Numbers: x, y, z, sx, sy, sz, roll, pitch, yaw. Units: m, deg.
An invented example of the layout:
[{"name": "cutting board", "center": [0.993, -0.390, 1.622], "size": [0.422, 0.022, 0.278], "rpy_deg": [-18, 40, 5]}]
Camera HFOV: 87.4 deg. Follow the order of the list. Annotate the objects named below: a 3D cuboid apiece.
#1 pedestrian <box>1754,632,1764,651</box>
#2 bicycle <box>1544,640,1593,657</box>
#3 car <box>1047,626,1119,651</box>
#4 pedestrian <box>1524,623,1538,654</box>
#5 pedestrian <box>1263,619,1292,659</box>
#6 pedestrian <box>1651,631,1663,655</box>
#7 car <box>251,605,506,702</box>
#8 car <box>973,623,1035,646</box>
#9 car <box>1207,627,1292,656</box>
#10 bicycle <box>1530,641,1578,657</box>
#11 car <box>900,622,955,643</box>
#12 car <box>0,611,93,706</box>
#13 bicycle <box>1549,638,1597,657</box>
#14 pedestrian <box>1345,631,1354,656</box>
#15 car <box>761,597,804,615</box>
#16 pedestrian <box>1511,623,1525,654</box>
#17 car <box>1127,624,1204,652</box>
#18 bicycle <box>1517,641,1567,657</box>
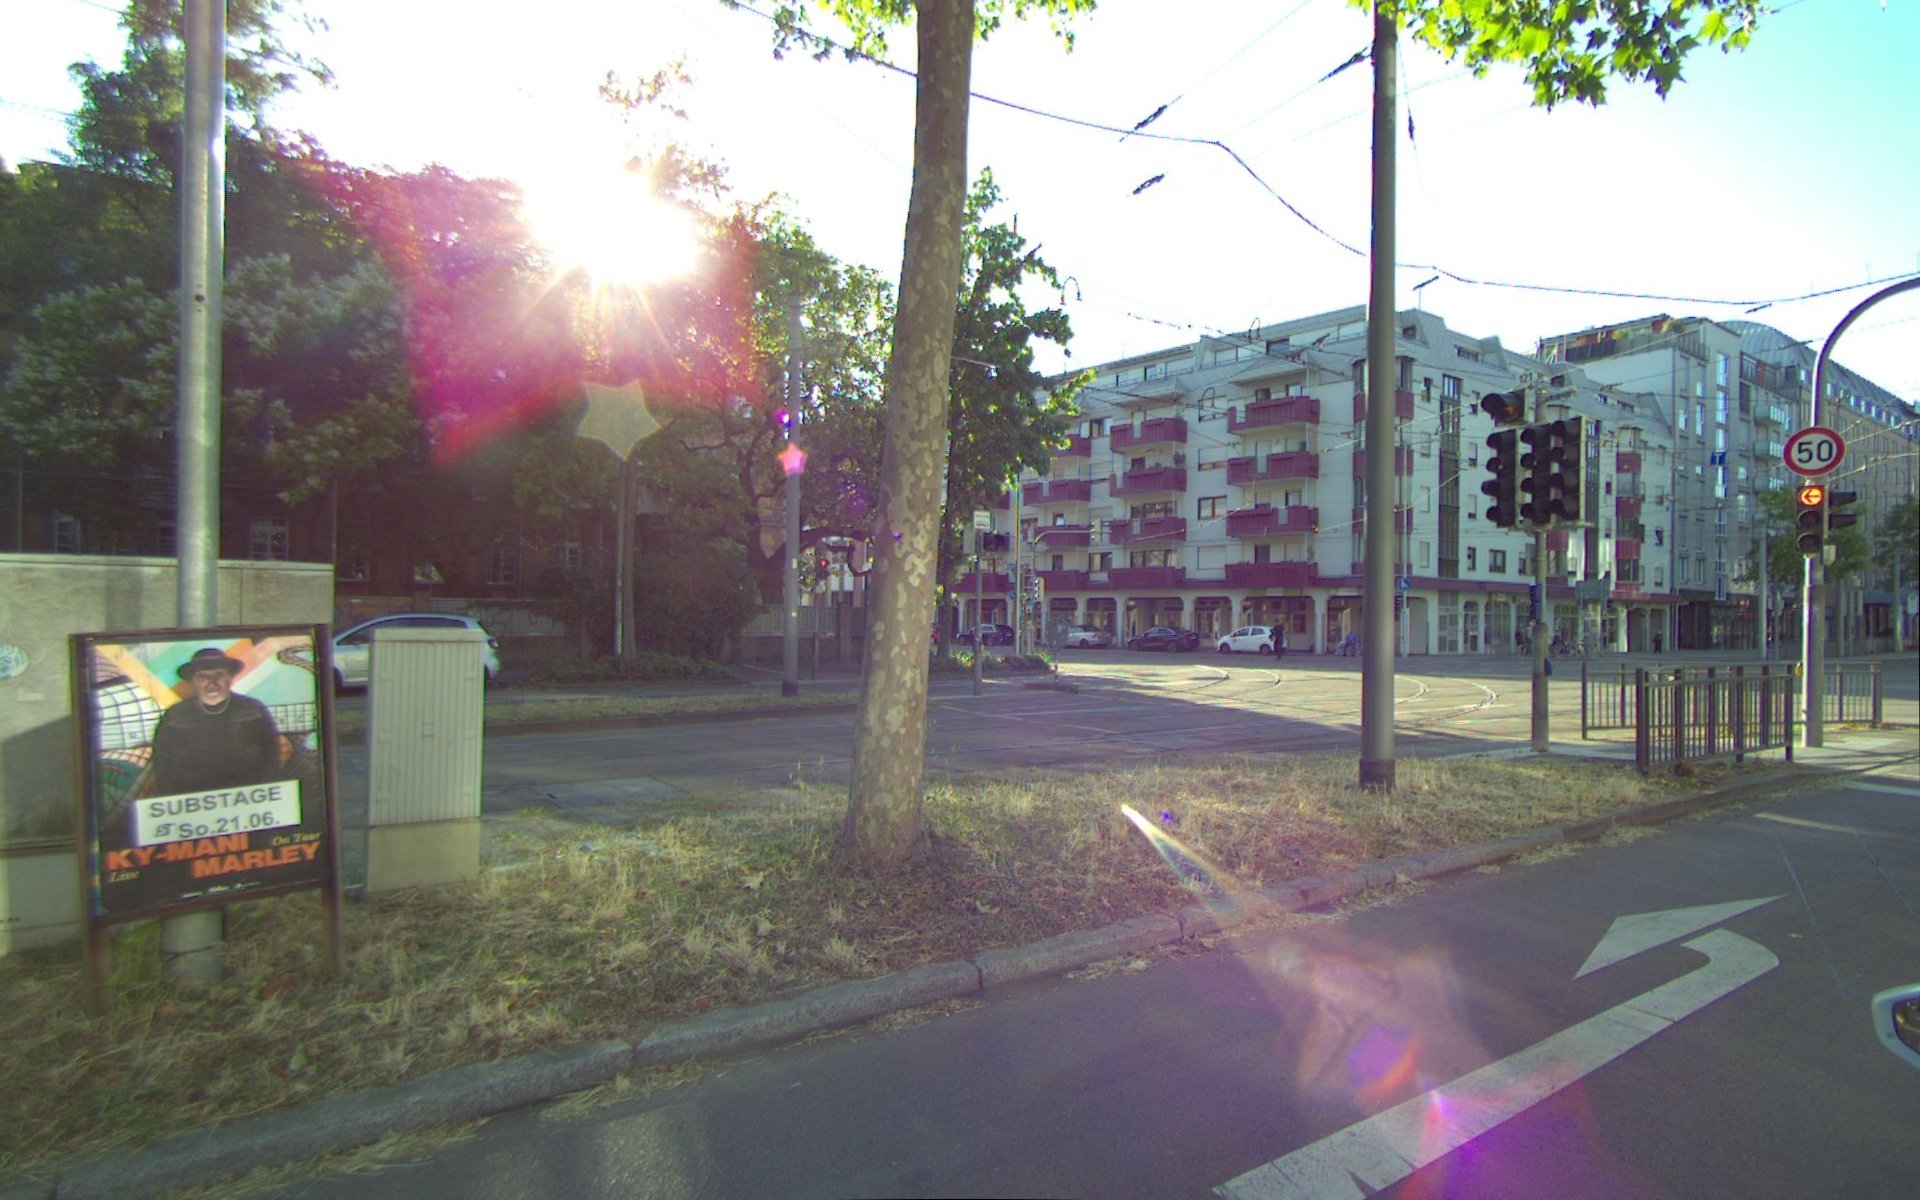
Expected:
[{"name": "pedestrian", "center": [60.239, 3.130, 75.731], "size": [0.523, 1.478, 0.507], "rpy_deg": [1, -1, -37]}, {"name": "bicycle", "center": [31.901, 2.551, 52.672], "size": [0.523, 0.835, 2.153], "rpy_deg": [1, -2, -37]}, {"name": "car", "center": [7.482, 2.312, 61.312], "size": [1.790, 1.483, 4.215], "rpy_deg": [2, -2, -44]}, {"name": "pedestrian", "center": [31.568, 2.123, 55.560], "size": [0.523, 1.721, 0.507], "rpy_deg": [1, -1, -37]}, {"name": "pedestrian", "center": [13.576, 1.680, 42.944], "size": [1.025, 1.684, 0.703], "rpy_deg": [1, -2, -40]}, {"name": "pedestrian", "center": [44.189, 2.723, 63.669], "size": [0.524, 1.478, 0.505], "rpy_deg": [1, -1, -44]}, {"name": "car", "center": [-11.432, 1.003, 19.850], "size": [4.140, 1.711, 1.979], "rpy_deg": [1, -1, -38]}, {"name": "car", "center": [2.898, 2.252, 66.603], "size": [1.790, 1.483, 3.947], "rpy_deg": [2, -2, -44]}, {"name": "car", "center": [15.313, 2.177, 53.201], "size": [3.945, 1.483, 1.791], "rpy_deg": [-2, -2, 44]}, {"name": "bicycle", "center": [30.732, 2.534, 52.004], "size": [0.487, 0.797, 2.153], "rpy_deg": [1, -2, -37]}, {"name": "car", "center": [-2.347, 2.321, 72.243], "size": [1.790, 1.483, 3.947], "rpy_deg": [2, -2, -44]}, {"name": "car", "center": [-16.747, 0.905, 15.754], "size": [4.607, 1.495, 1.979], "rpy_deg": [1, -1, -38]}, {"name": "bicycle", "center": [32.395, 2.497, 53.081], "size": [0.487, 0.963, 2.153], "rpy_deg": [1, -2, -37]}, {"name": "pedestrian", "center": [19.488, 2.179, 50.206], "size": [0.316, 1.230, 0.301], "rpy_deg": [1, -2, -40]}, {"name": "car", "center": [-15.437, 0.526, 87.088], "size": [1.790, 1.483, 3.947], "rpy_deg": [2, -2, -44]}, {"name": "pedestrian", "center": [31.111, 2.144, 55.989], "size": [0.523, 1.721, 0.507], "rpy_deg": [1, -1, -37]}, {"name": "car", "center": [11.590, 2.139, 56.857], "size": [3.945, 1.483, 1.791], "rpy_deg": [-2, -2, 44]}, {"name": "bicycle", "center": [29.977, 2.515, 51.775], "size": [0.635, 0.797, 2.153], "rpy_deg": [1, -2, -37]}]
